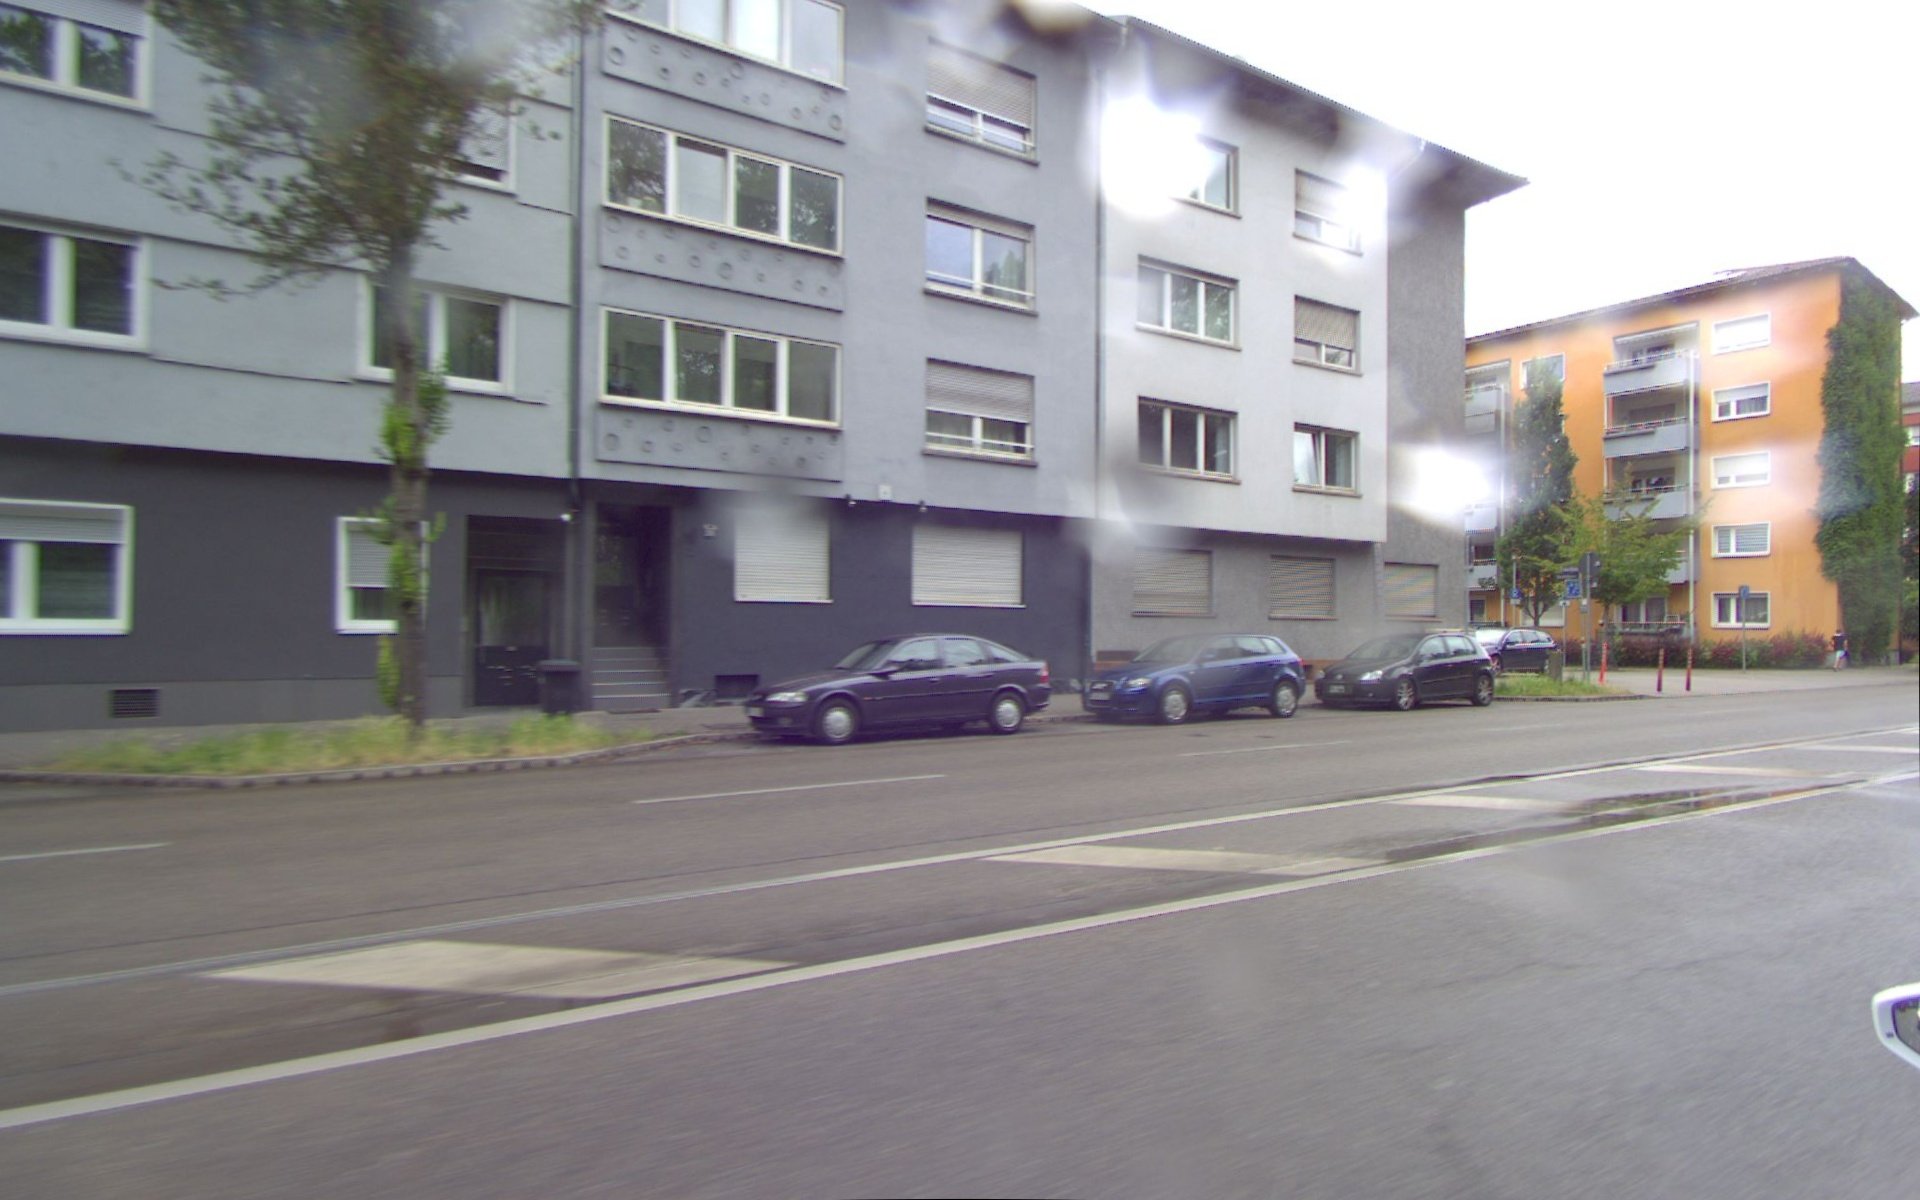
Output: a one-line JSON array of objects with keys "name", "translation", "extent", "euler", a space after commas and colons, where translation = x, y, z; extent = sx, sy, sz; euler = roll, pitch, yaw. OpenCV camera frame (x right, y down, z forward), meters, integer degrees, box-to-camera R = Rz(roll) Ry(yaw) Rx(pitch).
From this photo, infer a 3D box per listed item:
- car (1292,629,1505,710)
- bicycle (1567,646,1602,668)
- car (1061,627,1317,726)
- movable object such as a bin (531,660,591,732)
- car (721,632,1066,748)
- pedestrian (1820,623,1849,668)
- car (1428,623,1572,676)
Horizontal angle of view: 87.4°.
[{"name": "car", "translation": [8.665, 1.317, 19.754], "extent": [4.274, 1.444, 1.704], "euler": [1, -3, -32]}, {"name": "bicycle", "translation": [23.206, 2.110, 37.311], "extent": [1.528, 0.759, 0.462], "euler": [1, -2, -30]}, {"name": "car", "translation": [3.893, 1.234, 16.873], "extent": [4.228, 1.468, 1.672], "euler": [1, -4, -32]}, {"name": "movable object such as a bin", "translation": [-4.849, 1.154, 12.197], "extent": [0.603, 0.828, 0.466], "euler": [1, -2, -33]}, {"name": "car", "translation": [-0.838, 1.168, 13.917], "extent": [4.529, 1.375, 1.679], "euler": [1, -4, -33]}, {"name": "pedestrian", "translation": [32.135, 1.675, 36.921], "extent": [0.653, 1.625, 0.583], "euler": [1, -2, -30]}, {"name": "car", "translation": [15.841, 1.424, 29.426], "extent": [4.362, 1.451, 1.714], "euler": [1, -2, -31]}]
